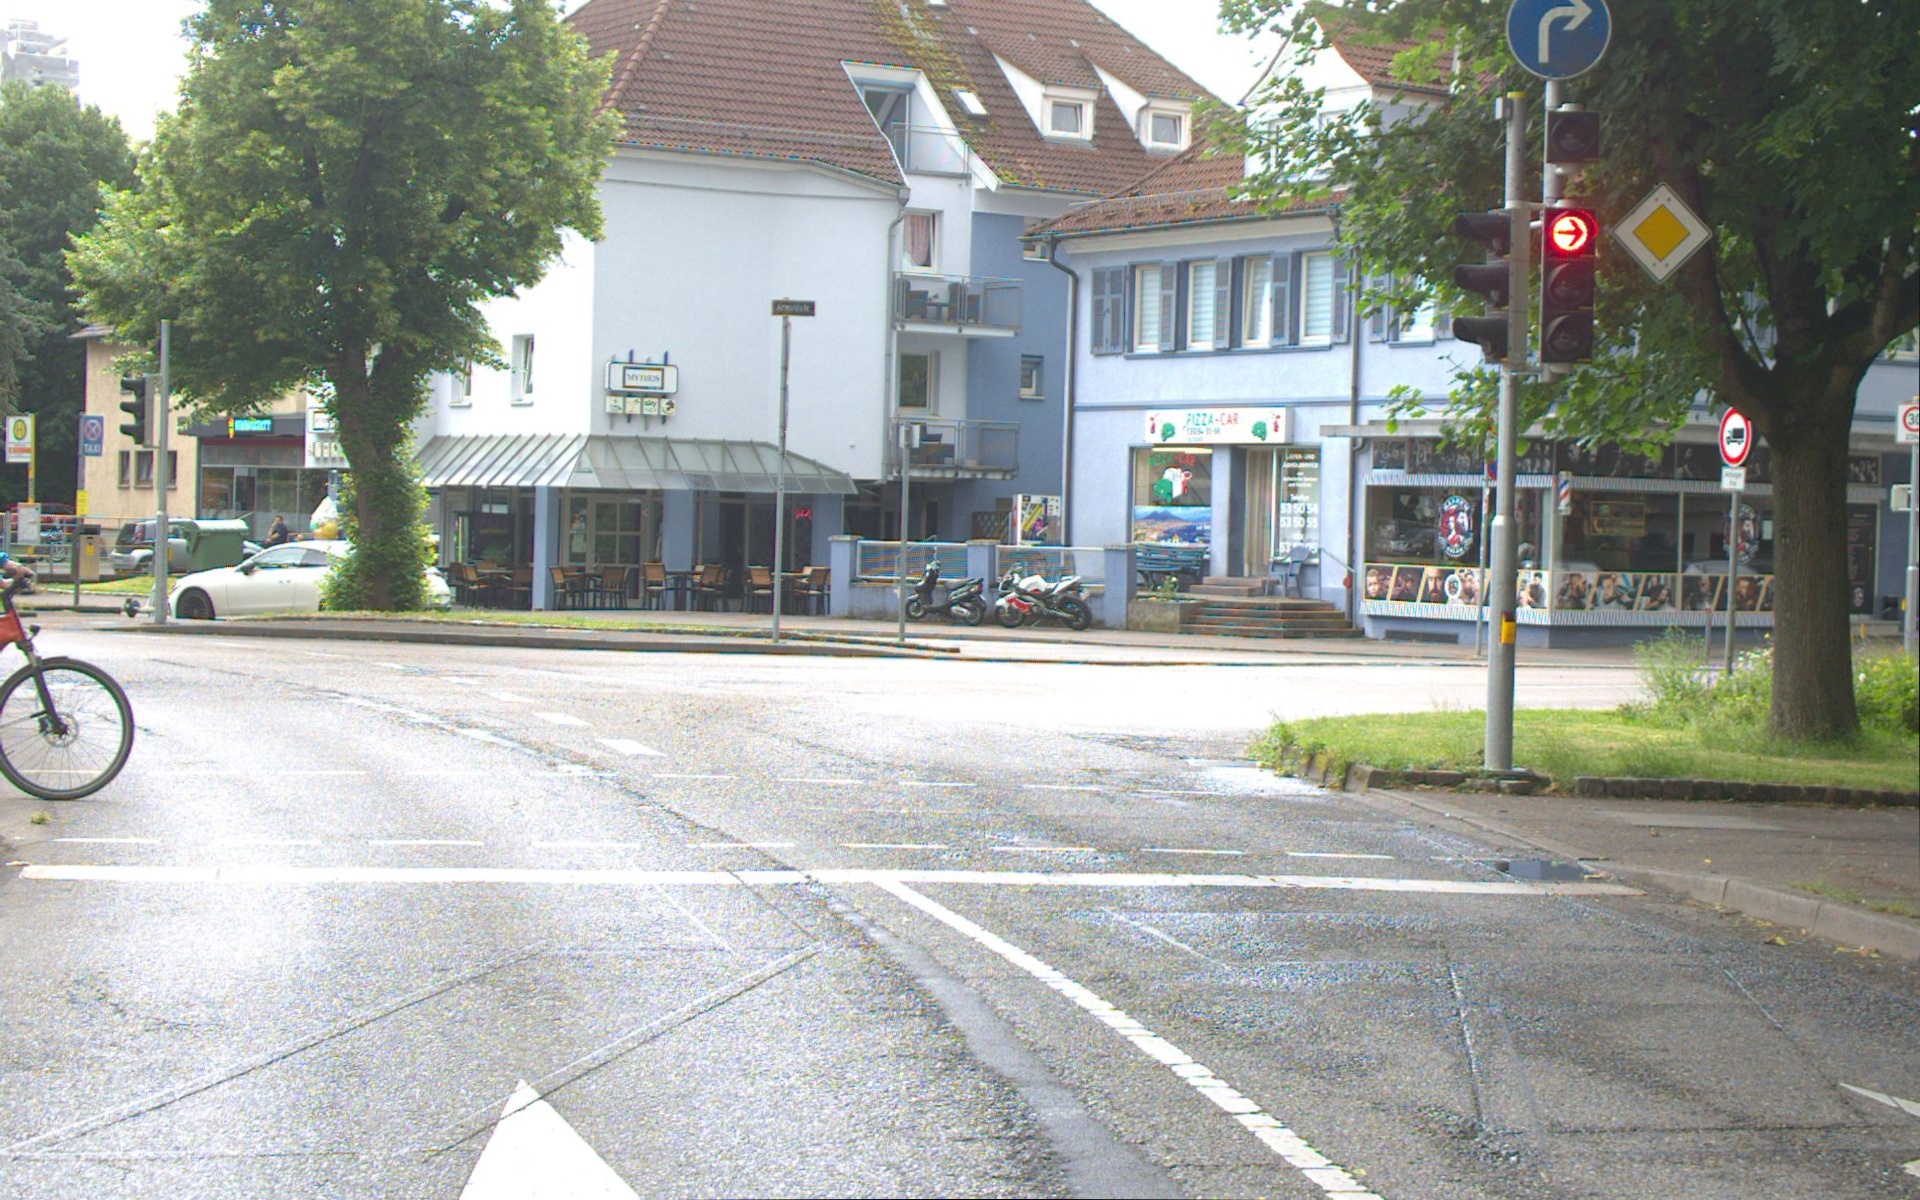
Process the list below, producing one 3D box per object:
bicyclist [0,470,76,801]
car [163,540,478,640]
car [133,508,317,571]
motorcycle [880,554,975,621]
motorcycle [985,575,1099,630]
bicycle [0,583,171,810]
[{"bbox_3d":[-4.975,0.159,16.958,1.098,1.594,0.941,1,1,-19],"label":"bicyclist"},{"bbox_3d":[-10.084,-0.184,54.201,4.583,1.512,1.997,1,1,25],"label":"car"},{"bbox_3d":[-17.573,-1.447,82.211,3.986,1.481,1.760,0,1,-28],"label":"car"},{"bbox_3d":[-0.563,-0.218,59.591,1.497,1.103,0.560,0,6,24],"label":"motorcycle"},{"bbox_3d":[1.389,0.036,58.152,1.839,0.845,0.560,1,6,27],"label":"motorcycle"},{"bbox_3d":[-5.005,0.461,16.959,2.069,1.078,0.941,1,1,-19],"label":"bicycle"}]
